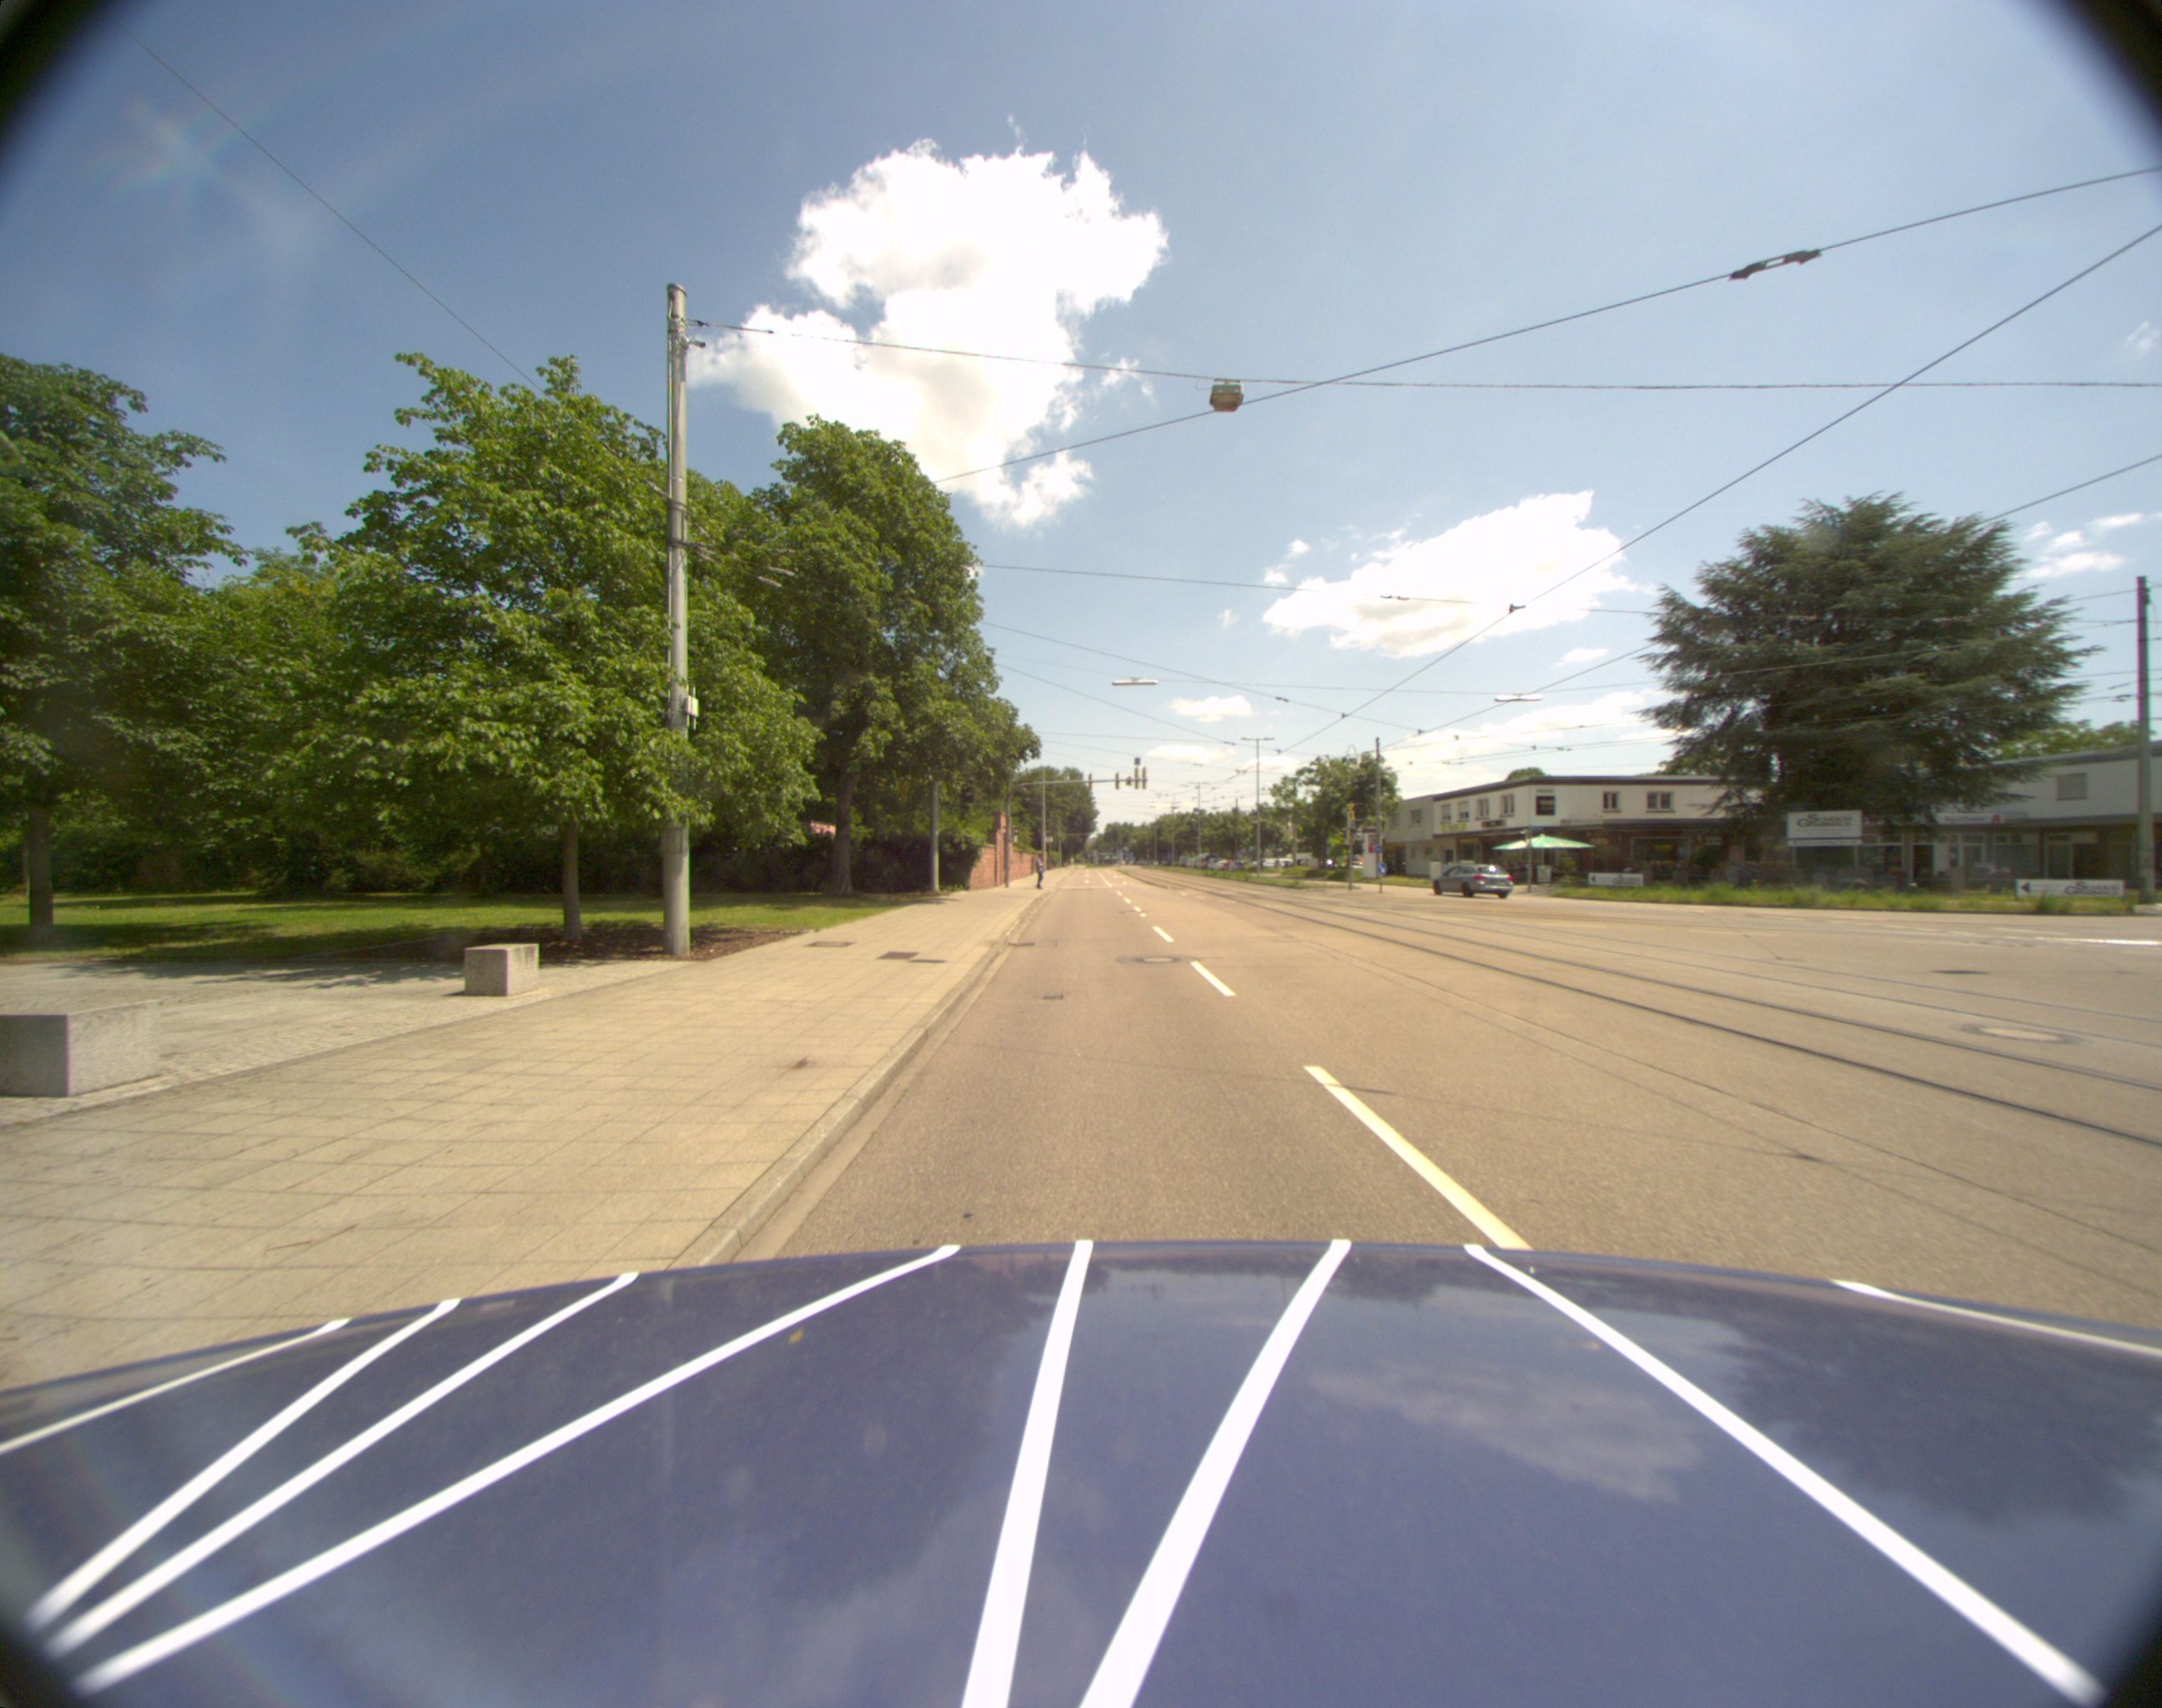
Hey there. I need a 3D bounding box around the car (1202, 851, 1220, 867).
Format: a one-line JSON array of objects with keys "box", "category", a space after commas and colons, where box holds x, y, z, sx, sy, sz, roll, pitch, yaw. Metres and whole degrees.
[{"box": [21.537, 0.764, 126.014, 2.156, 2.596, 5.033, -2, 0, 1], "category": "car"}]

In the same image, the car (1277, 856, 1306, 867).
[{"box": [32.739, 1.202, 118.402, 3.996, 1.726, 1.903, 1, 0, 1], "category": "car"}]

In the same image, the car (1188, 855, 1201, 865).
[{"box": [22.397, 1.126, 149.549, 1.795, 1.927, 4.488, -2, 0, -1], "category": "car"}]

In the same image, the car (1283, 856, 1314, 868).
[{"box": [31.524, 1.187, 110.324, 3.996, 1.726, 1.803, 1, 0, 1], "category": "car"}]

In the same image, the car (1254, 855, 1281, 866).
[{"box": [32.477, 1.186, 132.601, 4.199, 1.726, 1.803, 2, 1, 1], "category": "car"}]

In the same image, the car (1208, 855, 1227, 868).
[{"box": [21.610, 1.133, 120.108, 2.156, 1.827, 4.888, -2, 0, 1], "category": "car"}]

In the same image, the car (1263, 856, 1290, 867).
[{"box": [31.935, 1.204, 124.107, 3.996, 1.726, 1.803, 2, 1, 1], "category": "car"}]

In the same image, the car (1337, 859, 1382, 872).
[{"box": [31.824, 1.362, 87.030, 4.484, 1.426, 1.907, 0, 0, 3], "category": "car"}]

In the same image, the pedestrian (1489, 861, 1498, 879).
[{"box": [29.926, 1.166, 55.127, 0.354, 1.260, 0.533, 1, 0, 2], "category": "pedestrian"}]

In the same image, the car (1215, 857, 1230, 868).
[{"box": [21.081, 1.262, 113.384, 1.502, 1.530, 4.359, -2, 0, 2], "category": "car"}]

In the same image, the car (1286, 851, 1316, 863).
[{"box": [46.512, 0.626, 160.475, 5.698, 2.467, 2.259, 1, 0, -2], "category": "car"}]

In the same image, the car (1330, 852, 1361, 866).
[{"box": [45.564, 0.851, 130.933, 4.652, 2.212, 1.851, 2, 1, -2], "category": "car"}]

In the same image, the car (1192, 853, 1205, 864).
[{"box": [22.103, 0.788, 142.845, 1.794, 1.927, 4.649, -2, 0, 1], "category": "car"}]

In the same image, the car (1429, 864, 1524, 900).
[{"box": [17.742, 1.206, 34.323, 1.998, 1.462, 4.401, 0, -1, 0], "category": "car"}]

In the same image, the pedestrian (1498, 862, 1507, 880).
[{"box": [29.942, 1.182, 53.941, 0.345, 1.260, 0.528, 1, 0, 3], "category": "pedestrian"}]

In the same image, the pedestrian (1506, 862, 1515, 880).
[{"box": [29.899, 1.180, 52.859, 0.319, 1.260, 0.502, 1, 0, 2], "category": "pedestrian"}]

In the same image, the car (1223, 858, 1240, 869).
[{"box": [21.527, 1.314, 108.685, 1.503, 1.530, 3.648, -2, 0, -2], "category": "car"}]

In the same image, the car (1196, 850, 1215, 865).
[{"box": [21.979, 0.621, 134.133, 2.156, 2.596, 6.704, -2, 0, 0], "category": "car"}]

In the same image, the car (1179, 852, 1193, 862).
[{"box": [22.335, 0.583, 161.690, 2.071, 2.089, 4.488, -2, 0, -1], "category": "car"}]

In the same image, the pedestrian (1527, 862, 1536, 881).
[{"box": [30.548, 1.182, 51.492, 0.341, 1.260, 0.452, 1, 0, 3], "category": "pedestrian"}]

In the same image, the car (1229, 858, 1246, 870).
[{"box": [21.300, 1.312, 103.535, 1.580, 1.530, 4.551, -2, 0, 2], "category": "car"}]

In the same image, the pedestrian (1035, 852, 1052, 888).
[{"box": [-1.921, 0.816, 38.761, 0.767, 1.841, 0.717, 0, 0, -8], "category": "pedestrian"}]

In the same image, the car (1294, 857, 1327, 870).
[{"box": [31.704, 1.318, 105.216, 3.996, 1.726, 1.879, 1, 0, 1], "category": "car"}]

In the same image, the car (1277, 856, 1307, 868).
[{"box": [32.165, 1.205, 115.802, 3.996, 1.726, 1.803, 2, 1, 1], "category": "car"}]

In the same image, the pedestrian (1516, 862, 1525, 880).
[{"box": [30.718, 1.163, 53.121, 0.387, 1.239, 0.401, 1, 0, 2], "category": "pedestrian"}]
